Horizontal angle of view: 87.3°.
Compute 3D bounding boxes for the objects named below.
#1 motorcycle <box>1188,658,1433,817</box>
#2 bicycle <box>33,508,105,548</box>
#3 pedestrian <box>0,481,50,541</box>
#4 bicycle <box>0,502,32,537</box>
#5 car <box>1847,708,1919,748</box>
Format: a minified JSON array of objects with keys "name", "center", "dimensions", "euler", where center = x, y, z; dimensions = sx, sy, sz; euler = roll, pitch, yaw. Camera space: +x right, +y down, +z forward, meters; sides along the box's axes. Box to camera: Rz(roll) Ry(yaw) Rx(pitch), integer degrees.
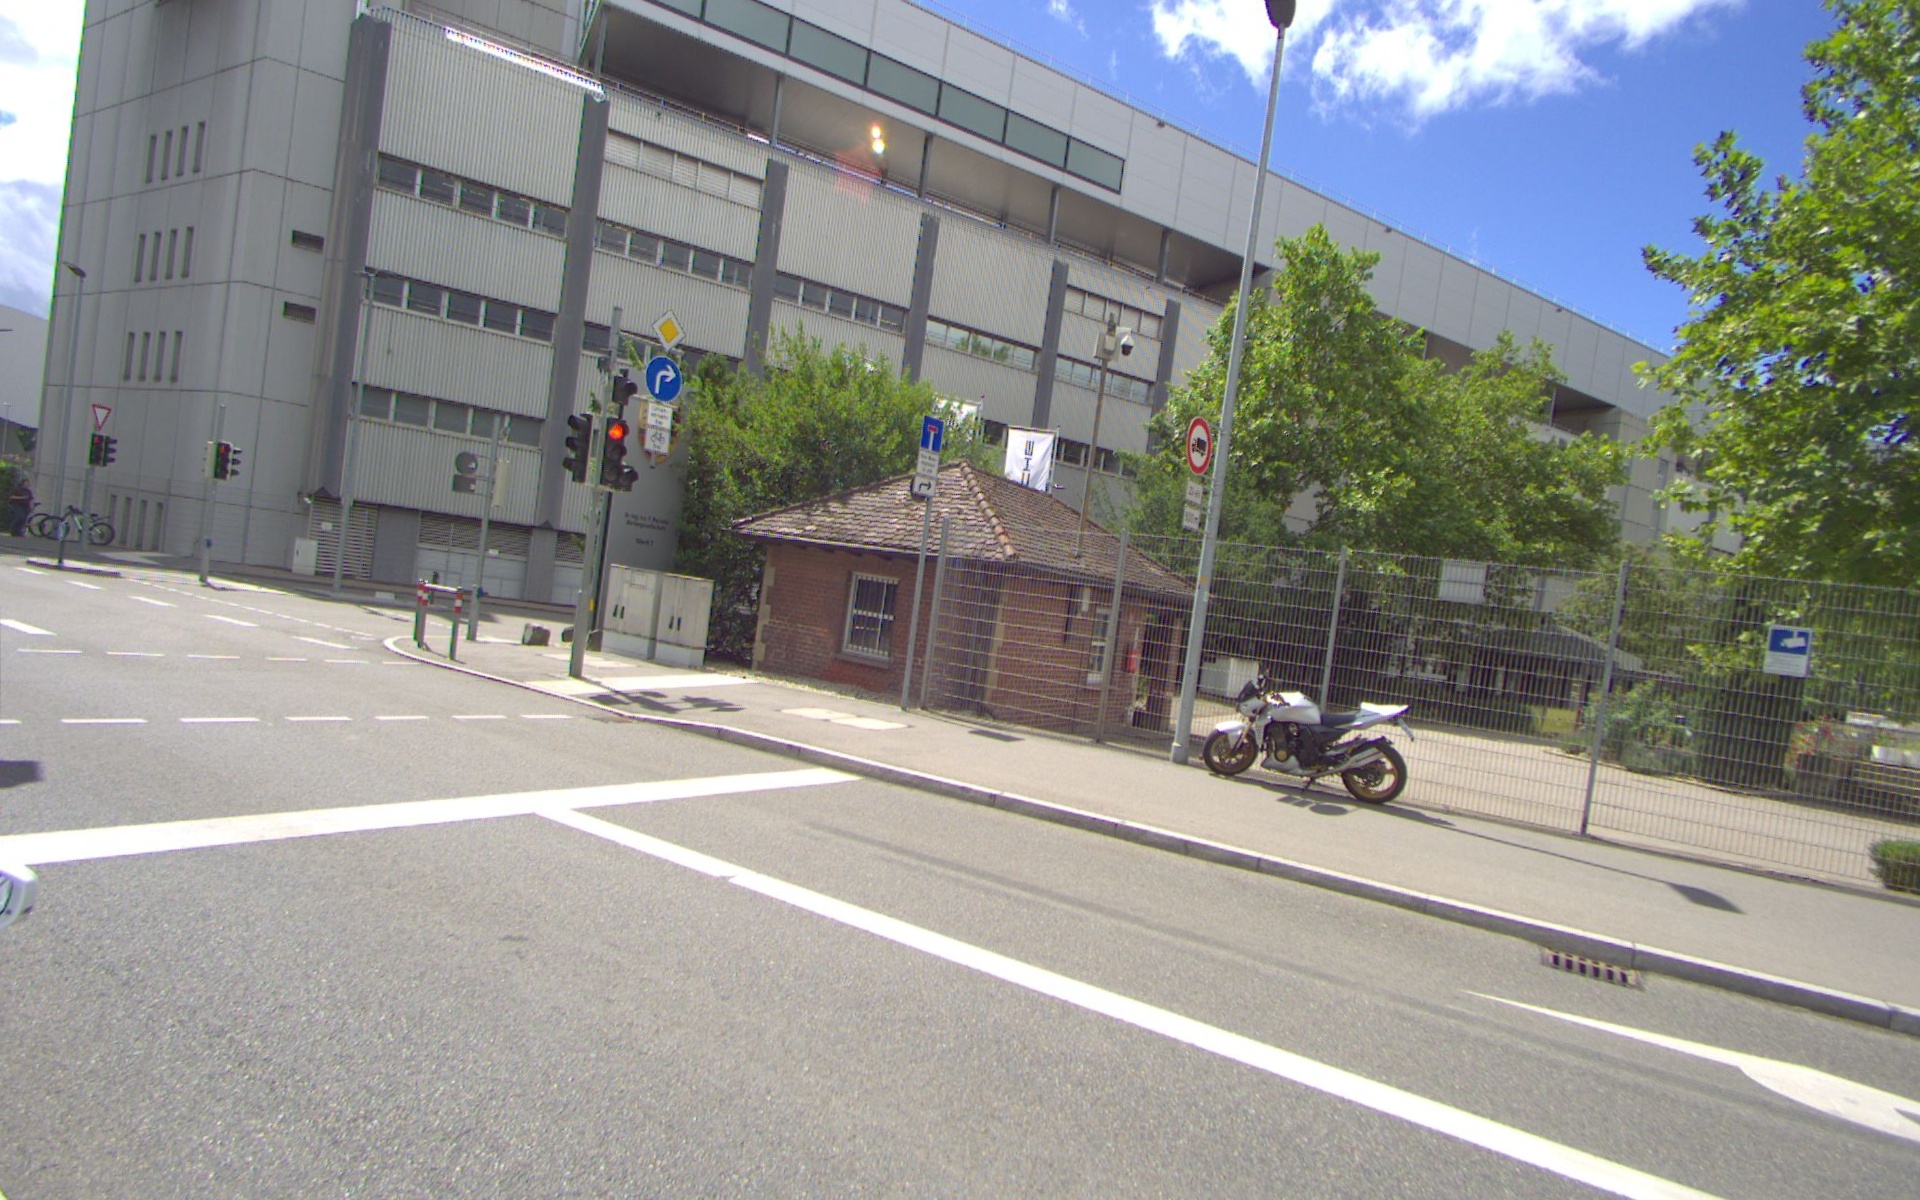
[{"name":"motorcycle","center":[3.458,1.304,9.987],"dimensions":[2.110,1.173,0.693],"euler":[7,2,27]},{"name":"bicycle","center":[-27.249,-2.201,30.756],"dimensions":[1.892,0.948,0.399],"euler":[7,0,6]},{"name":"pedestrian","center":[-28.135,-2.654,30.119],"dimensions":[0.837,1.644,0.953],"euler":[7,0,-17]},{"name":"bicycle","center":[-29.674,-2.535,31.072],"dimensions":[1.891,0.948,0.399],"euler":[7,0,13]},{"name":"car","center":[53.055,7.292,56.785],"dimensions":[1.979,1.803,3.971],"euler":[8,-2,-30]}]
